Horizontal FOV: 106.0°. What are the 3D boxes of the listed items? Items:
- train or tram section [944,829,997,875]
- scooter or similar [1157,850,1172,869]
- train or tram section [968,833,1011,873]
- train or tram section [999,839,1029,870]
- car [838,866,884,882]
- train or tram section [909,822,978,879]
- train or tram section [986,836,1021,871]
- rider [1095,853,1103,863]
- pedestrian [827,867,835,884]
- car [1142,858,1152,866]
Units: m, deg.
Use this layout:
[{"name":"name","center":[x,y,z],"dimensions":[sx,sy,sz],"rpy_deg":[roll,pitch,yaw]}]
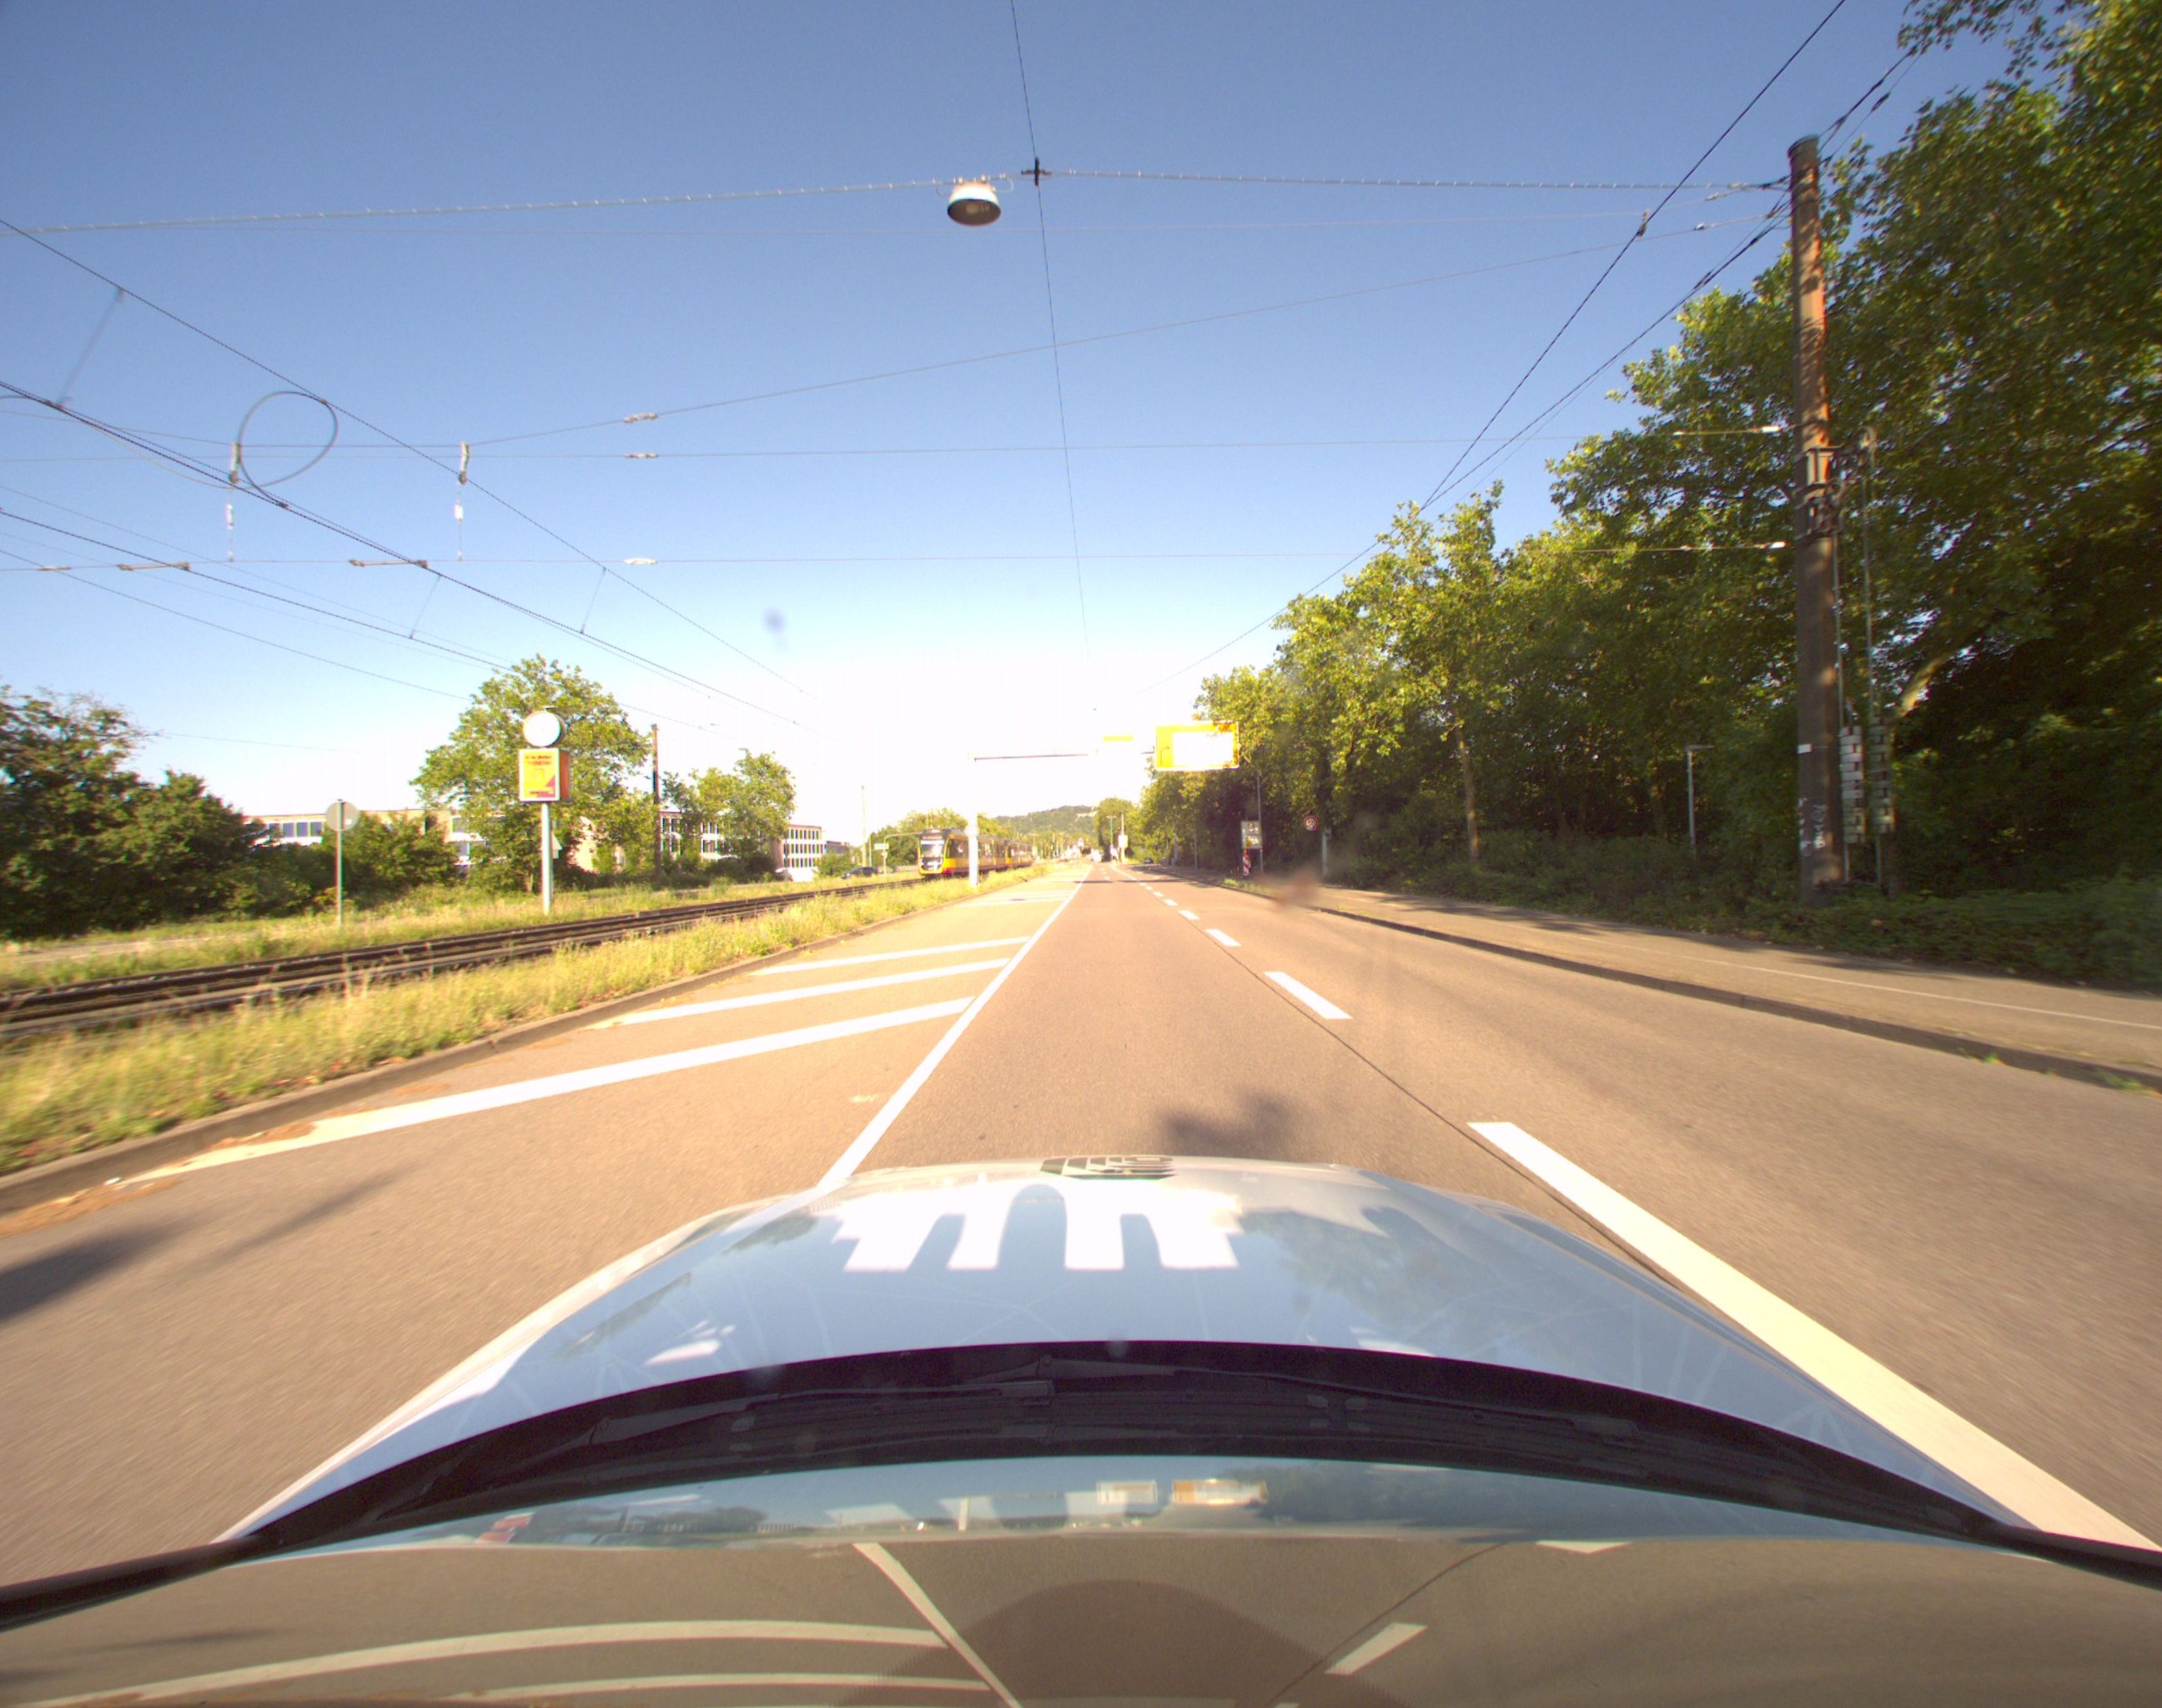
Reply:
[{"name":"train or tram section","center":[-9.919,-0.122,74.516],"dimensions":[2.793,3.903,11.995],"rpy_deg":[0,0,2]},{"name":"scooter or similar","center":[11.943,0.768,116.839],"dimensions":[1.675,2.716,4.870],"rpy_deg":[-1,0,2]},{"name":"train or tram section","center":[-9.572,-0.029,86.425],"dimensions":[2.793,3.903,11.817],"rpy_deg":[0,0,2]},{"name":"train or tram section","center":[-8.999,0.077,111.338],"dimensions":[2.814,3.951,12.655],"rpy_deg":[0,0,1]},{"name":"car","center":[-26.603,2.369,98.351],"dimensions":[5.147,1.815,1.931],"rpy_deg":[0,-1,-26]},{"name":"train or tram section","center":[-10.287,-0.216,62.363],"dimensions":[2.793,3.903,12.336],"rpy_deg":[0,0,2]},{"name":"train or tram section","center":[-9.233,0.041,98.659],"dimensions":[2.814,3.951,12.709],"rpy_deg":[0,0,1]},{"name":"rider","center":[5.129,1.170,230.700],"dimensions":[2.098,2.647,0.738],"rpy_deg":[-1,0,6]},{"name":"pedestrian","center":[-27.524,2.327,89.591],"dimensions":[0.535,1.821,0.655],"rpy_deg":[-1,-1,23]},{"name":"car","center":[14.320,1.704,176.836],"dimensions":[2.075,1.566,3.964],"rpy_deg":[0,-1,8]}]
